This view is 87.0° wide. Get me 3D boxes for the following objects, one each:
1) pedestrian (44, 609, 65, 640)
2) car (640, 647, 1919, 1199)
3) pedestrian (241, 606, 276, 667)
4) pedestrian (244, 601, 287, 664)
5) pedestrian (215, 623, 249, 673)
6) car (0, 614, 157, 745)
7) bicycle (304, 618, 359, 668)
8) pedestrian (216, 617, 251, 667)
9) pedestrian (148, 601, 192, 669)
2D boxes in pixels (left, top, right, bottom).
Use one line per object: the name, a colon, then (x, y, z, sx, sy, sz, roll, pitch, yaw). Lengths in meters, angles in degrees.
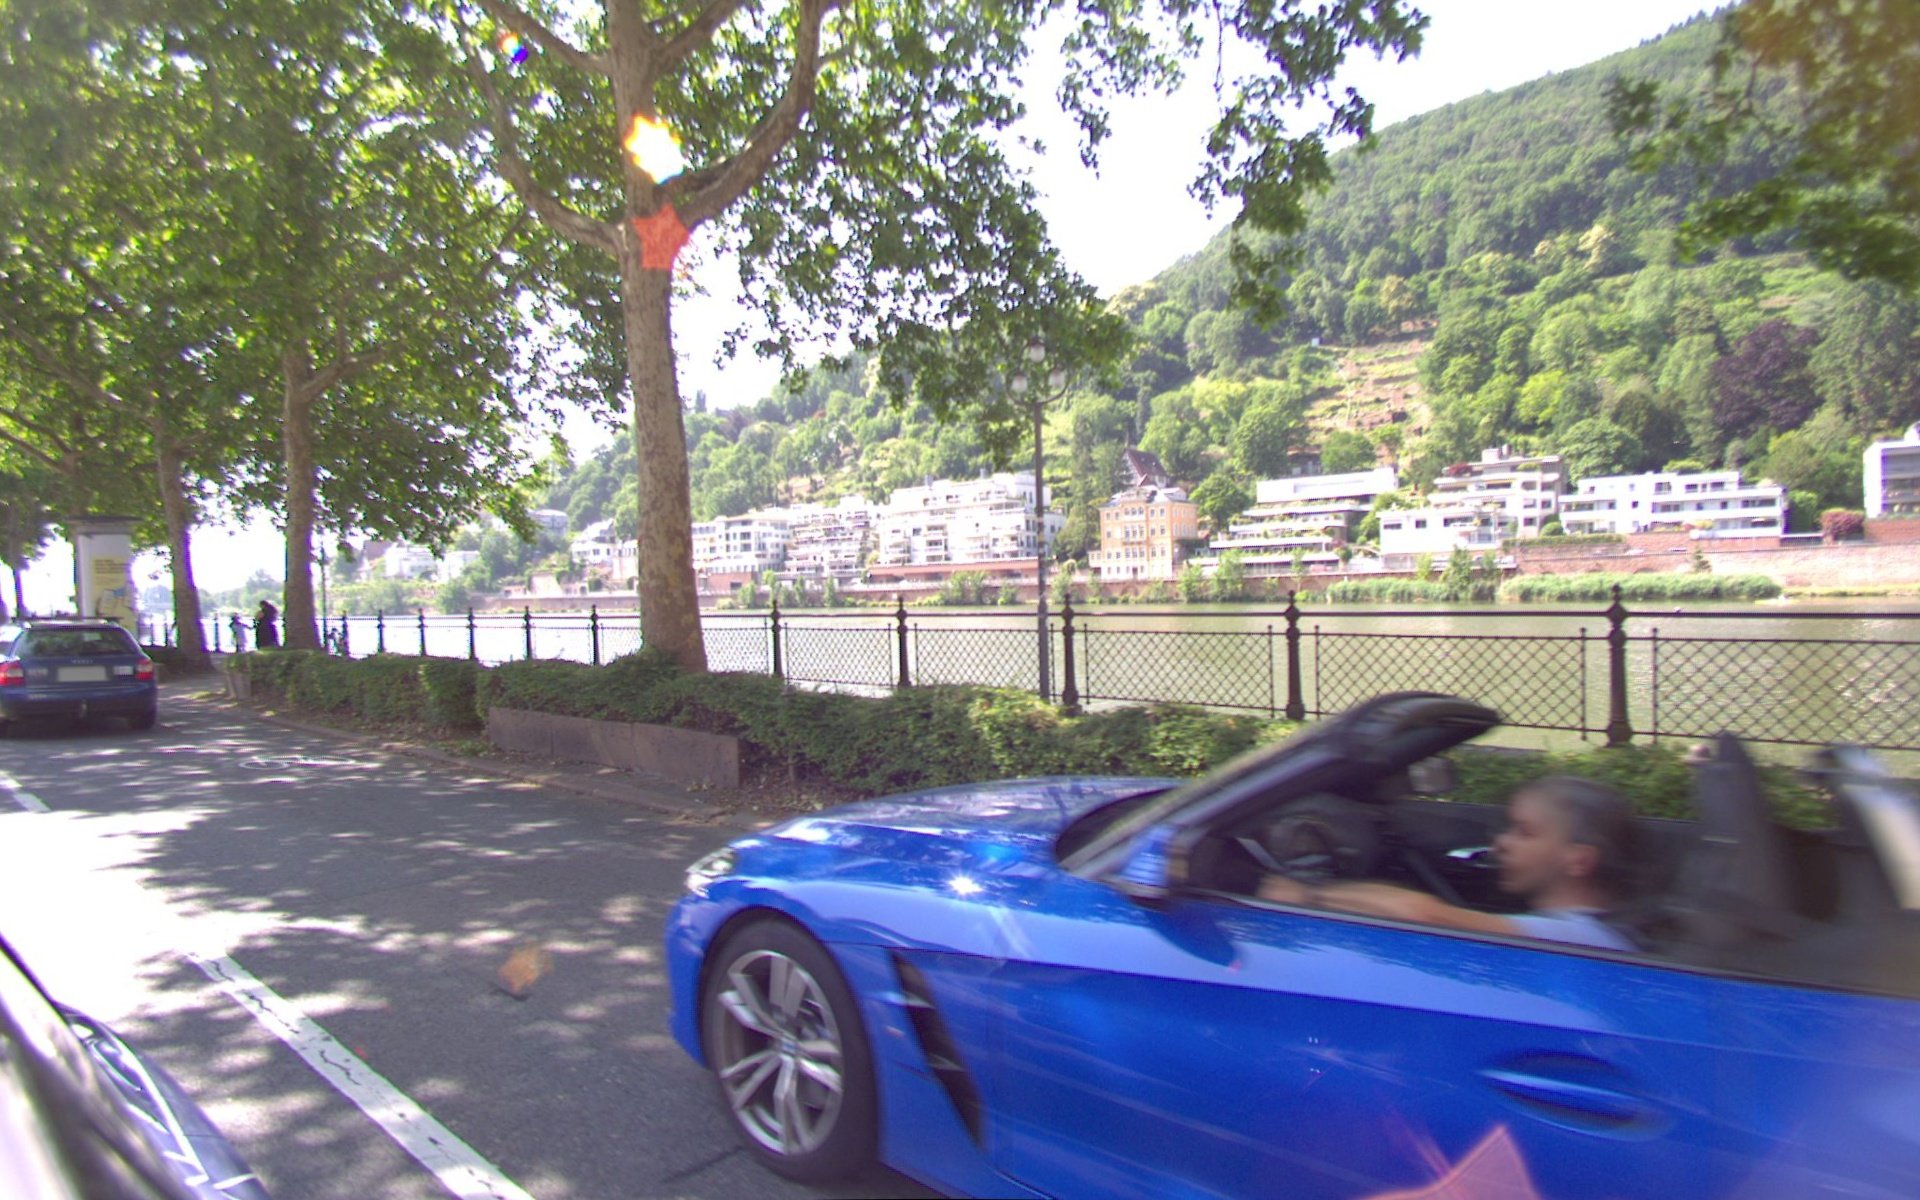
pedestrian: (-51.322, 1.378, 57.373, 0.729, 1.719, 0.751, -1, 1, 40)
car: (1.295, 0.789, 2.224, 4.259, 1.279, 1.822, -1, -2, 40)
pedestrian: (-19.303, 0.997, 27.862, 0.552, 1.640, 0.625, -1, 1, 40)
pedestrian: (-19.252, 0.897, 28.067, 0.709, 1.696, 0.783, -1, 1, 40)
pedestrian: (-19.975, 1.302, 27.765, 0.552, 1.330, 0.625, -1, 0, 40)
car: (-12.434, 0.974, 13.749, 4.404, 1.529, 1.683, -1, -2, 42)
bicycle: (-15.607, 1.051, 25.120, 1.843, 1.161, 0.557, -1, 3, 41)
pedestrian: (-19.752, 1.130, 27.527, 0.552, 1.330, 0.625, -1, 1, 40)
pedestrian: (-20.909, 0.919, 26.782, 0.729, 1.743, 0.751, -1, 1, 40)
